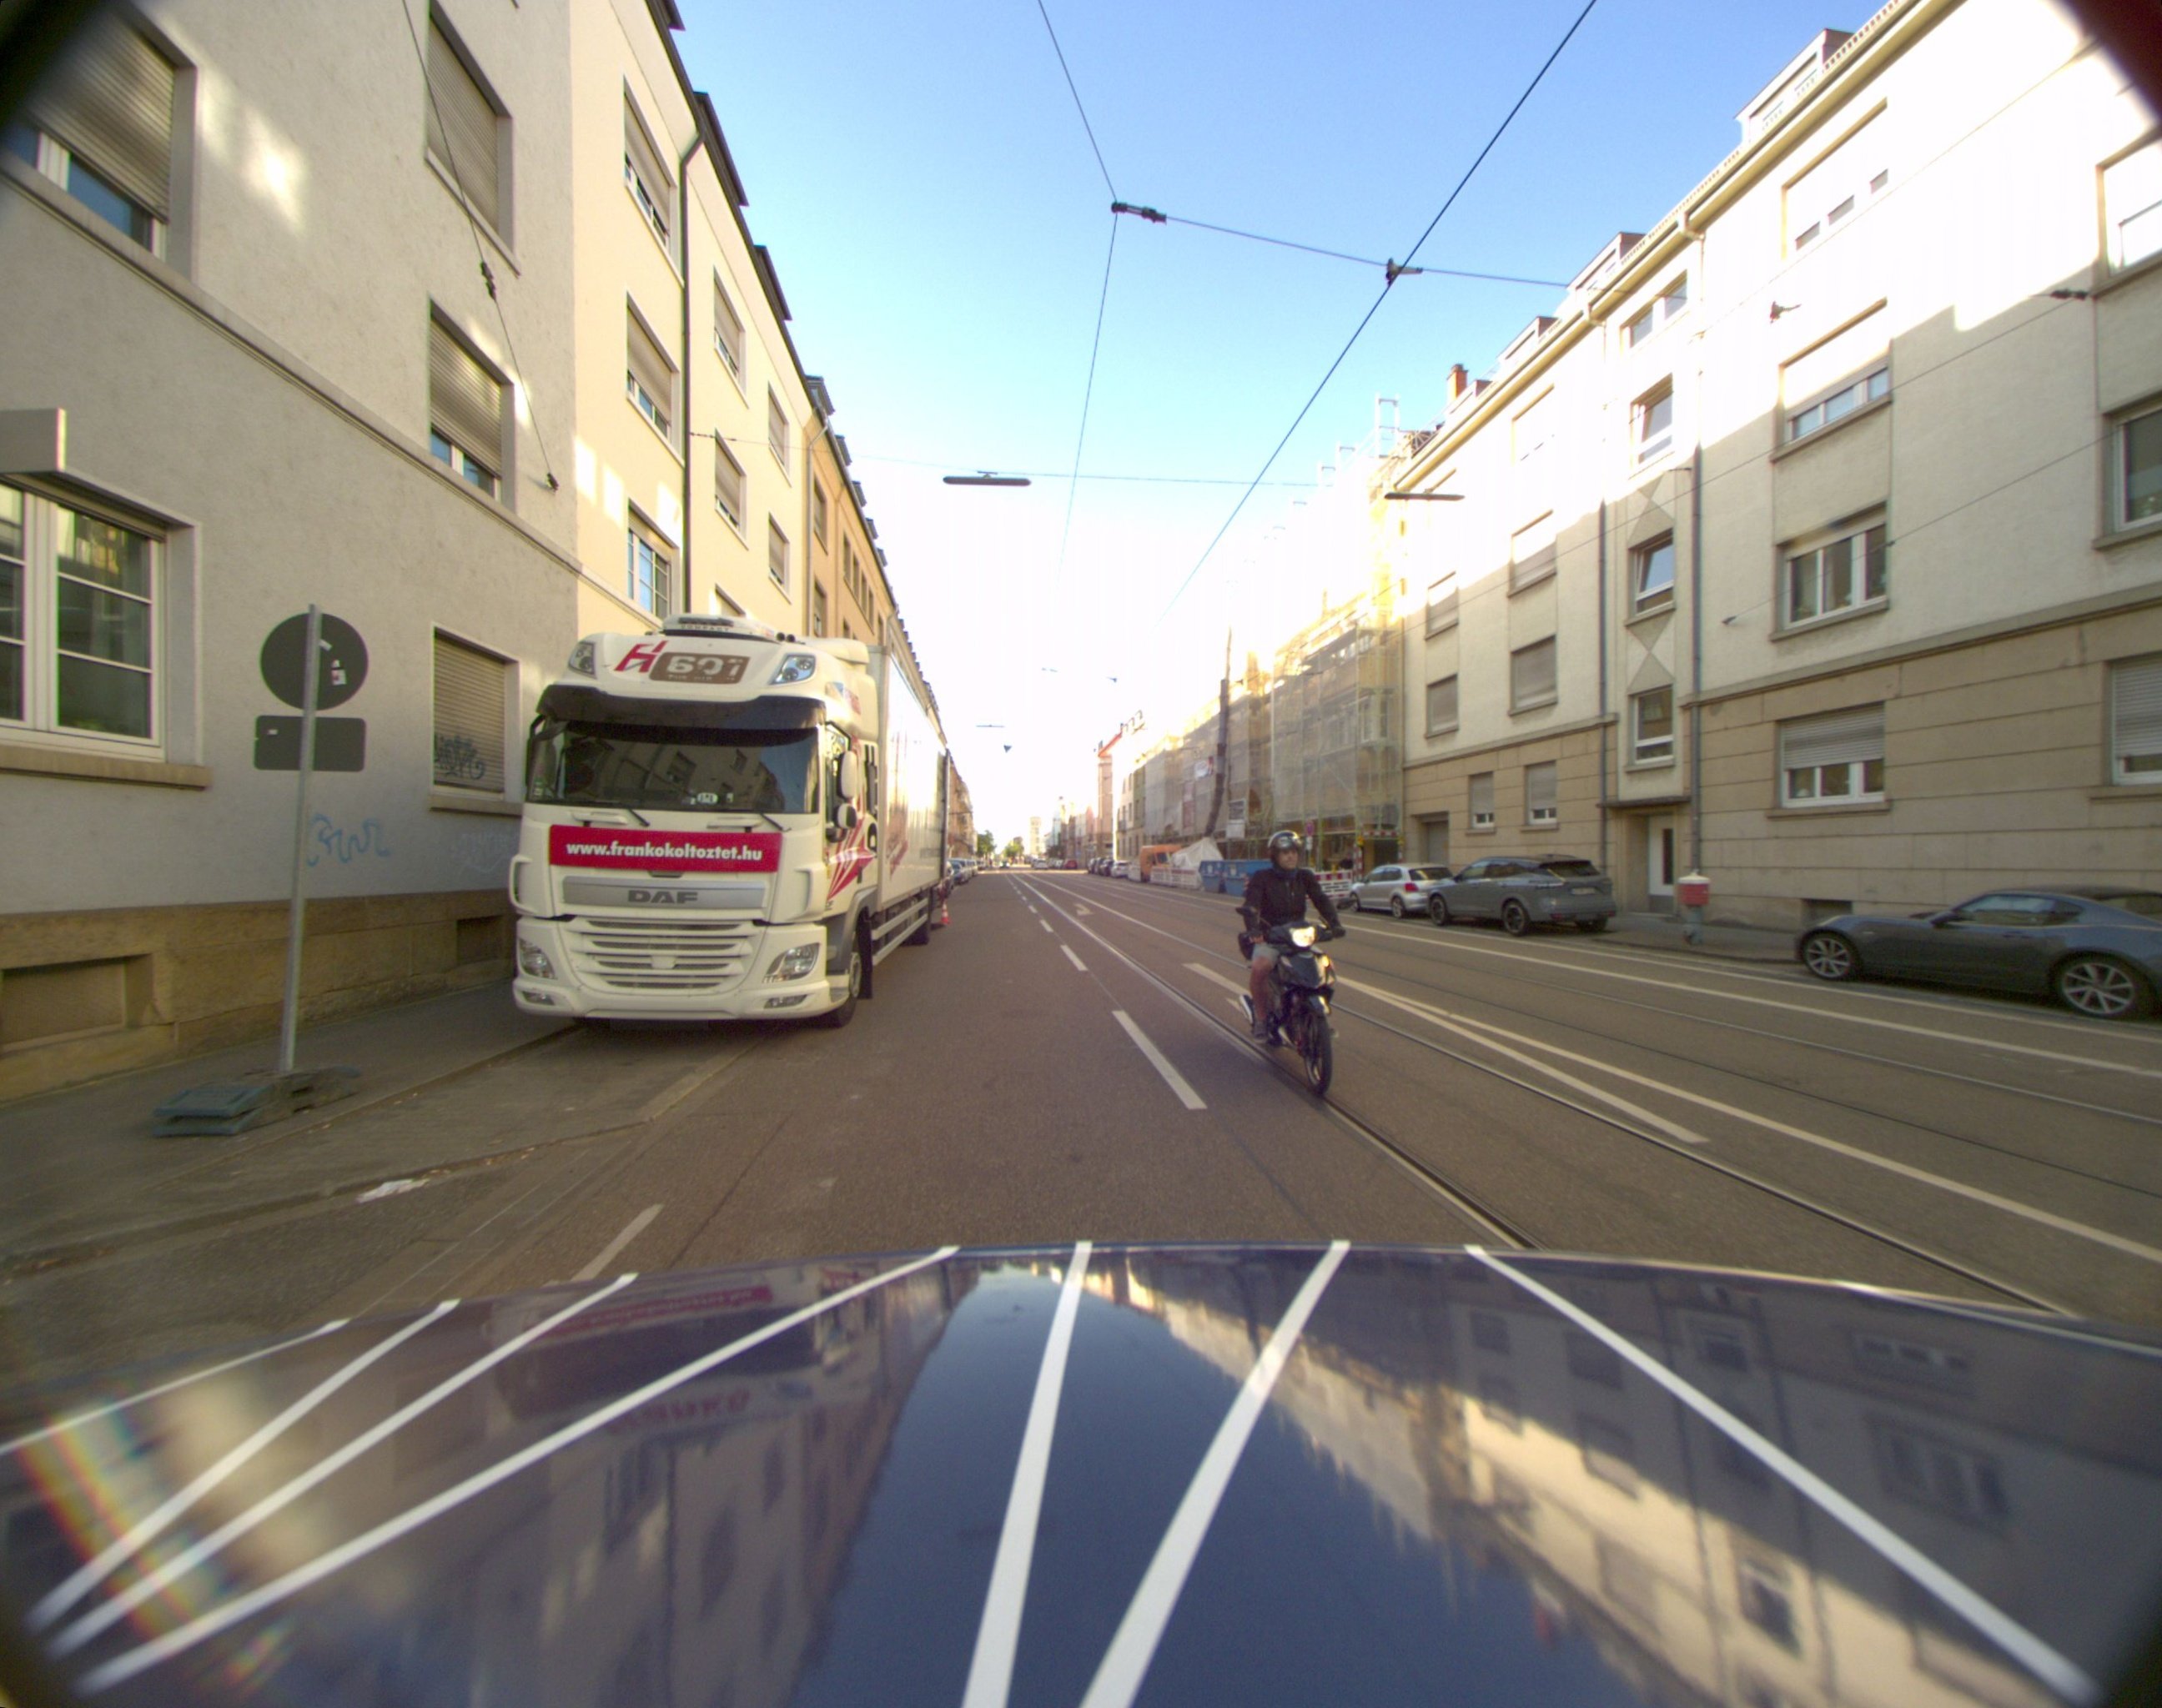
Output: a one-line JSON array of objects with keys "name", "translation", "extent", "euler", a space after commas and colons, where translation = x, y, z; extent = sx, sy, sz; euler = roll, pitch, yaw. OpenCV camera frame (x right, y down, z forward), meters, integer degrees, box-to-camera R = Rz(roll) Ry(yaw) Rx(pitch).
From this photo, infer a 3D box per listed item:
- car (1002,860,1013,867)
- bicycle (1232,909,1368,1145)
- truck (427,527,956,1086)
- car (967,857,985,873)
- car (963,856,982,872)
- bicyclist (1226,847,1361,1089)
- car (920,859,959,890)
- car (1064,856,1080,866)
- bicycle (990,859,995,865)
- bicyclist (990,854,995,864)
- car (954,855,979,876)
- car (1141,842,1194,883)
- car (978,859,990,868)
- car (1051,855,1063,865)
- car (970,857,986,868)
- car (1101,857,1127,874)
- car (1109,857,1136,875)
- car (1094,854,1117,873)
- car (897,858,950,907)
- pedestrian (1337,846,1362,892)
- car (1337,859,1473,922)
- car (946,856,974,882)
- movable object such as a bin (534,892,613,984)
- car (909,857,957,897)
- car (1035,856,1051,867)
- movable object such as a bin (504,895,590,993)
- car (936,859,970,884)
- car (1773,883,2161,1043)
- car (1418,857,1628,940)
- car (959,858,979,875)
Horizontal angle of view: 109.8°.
[{"name": "car", "translation": [-13.830, 1.776, 143.635], "extent": [1.860, 1.369, 3.999], "euler": [0, 0, -3]}, {"name": "bicycle", "translation": [1.445, 1.037, 5.273], "extent": [0.739, 1.170, 1.976], "euler": [0, 0, 12]}, {"name": "truck", "translation": [-3.798, -0.317, 11.493], "extent": [2.868, 4.049, 11.773], "euler": [0, 0, -5]}, {"name": "car", "translation": [-11.489, 1.211, 83.373], "extent": [1.704, 1.581, 3.352], "euler": [4, 0, -6]}, {"name": "car", "translation": [-10.896, 0.959, 76.305], "extent": [1.704, 1.581, 3.958], "euler": [0, 0, -6]}, {"name": "bicyclist", "translation": [1.463, 0.730, 5.352], "extent": [0.843, 1.545, 0.851], "euler": [0, 0, 12]}, {"name": "car", "translation": [-7.071, 0.981, 38.226], "extent": [1.613, 1.454, 3.478], "euler": [1, 0, -5]}, {"name": "car", "translation": [-1.350, 1.027, 113.297], "extent": [1.799, 1.494, 3.767], "euler": [-2, 0, -7]}, {"name": "bicycle", "translation": [-13.135, 1.227, 112.978], "extent": [0.744, 0.850, 1.885], "euler": [0, 0, -5]}, {"name": "bicyclist", "translation": [-13.132, 0.676, 113.091], "extent": [0.744, 1.481, 0.815], "euler": [0, 0, -5]}, {"name": "car", "translation": [-9.863, 0.979, 65.572], "extent": [1.703, 1.688, 4.186], "euler": [1, 0, -4]}, {"name": "car", "translation": [5.374, 0.518, 48.300], "extent": [2.126, 2.454, 5.997], "euler": [0, 0, -6]}, {"name": "car", "translation": [-17.343, 1.669, 136.551], "extent": [2.000, 1.630, 3.998], "euler": [0, 0, -6]}, {"name": "car", "translation": [-4.546, 1.141, 143.651], "extent": [2.000, 2.002, 3.998], "euler": [0, 0, -6]}, {"name": "car", "translation": [-14.465, 1.159, 106.705], "extent": [2.000, 1.412, 3.725], "euler": [0, 0, -6]}, {"name": "car", "translation": [3.105, 1.073, 72.042], "extent": [1.703, 1.569, 4.220], "euler": [-2, 0, -7]}, {"name": "car", "translation": [3.578, 1.057, 65.960], "extent": [1.752, 1.502, 3.998], "euler": [0, 0, -6]}, {"name": "car", "translation": [2.478, 0.933, 77.967], "extent": [1.799, 1.836, 3.767], "euler": [-2, 0, -7]}, {"name": "car", "translation": [-5.559, 0.952, 27.186], "extent": [1.597, 1.599, 4.243], "euler": [1, 0, -9]}, {"name": "pedestrian", "translation": [10.150, 0.554, 28.707], "extent": [0.582, 1.684, 0.716], "euler": [-2, 1, -7]}, {"name": "car", "translation": [8.891, 0.935, 21.242], "extent": [1.704, 1.407, 3.997], "euler": [-3, 1, -6]}, {"name": "car", "translation": [-8.505, 1.029, 53.532], "extent": [1.714, 1.683, 4.587], "euler": [1, 0, -6]}, {"name": "movable object such as a bin", "translation": [-6.458, 1.051, 9.695], "extent": [0.660, 1.098, 0.541], "euler": [0, 0, -9]}, {"name": "car", "translation": [-6.414, 0.950, 33.350], "extent": [1.795, 1.642, 4.363], "euler": [1, 0, -8]}, {"name": "car", "translation": [-5.573, 1.049, 110.637], "extent": [1.826, 1.559, 4.198], "euler": [-2, 0, -8]}, {"name": "movable object such as a bin", "translation": [-6.382, 1.054, 9.107], "extent": [0.660, 1.098, 0.541], "euler": [0, 0, -9]}, {"name": "car", "translation": [-7.953, 1.077, 47.435], "extent": [1.704, 1.443, 4.204], "euler": [1, 0, -5]}, {"name": "car", "translation": [10.319, 1.044, 8.375], "extent": [1.704, 1.209, 3.782], "euler": [-2, 1, -7]}, {"name": "car", "translation": [9.357, 0.850, 16.586], "extent": [1.704, 1.558, 4.403], "euler": [0, 0, -6]}, {"name": "car", "translation": [-10.483, 1.124, 71.204], "extent": [1.704, 1.496, 3.861], "euler": [0, 0, -5]}]
